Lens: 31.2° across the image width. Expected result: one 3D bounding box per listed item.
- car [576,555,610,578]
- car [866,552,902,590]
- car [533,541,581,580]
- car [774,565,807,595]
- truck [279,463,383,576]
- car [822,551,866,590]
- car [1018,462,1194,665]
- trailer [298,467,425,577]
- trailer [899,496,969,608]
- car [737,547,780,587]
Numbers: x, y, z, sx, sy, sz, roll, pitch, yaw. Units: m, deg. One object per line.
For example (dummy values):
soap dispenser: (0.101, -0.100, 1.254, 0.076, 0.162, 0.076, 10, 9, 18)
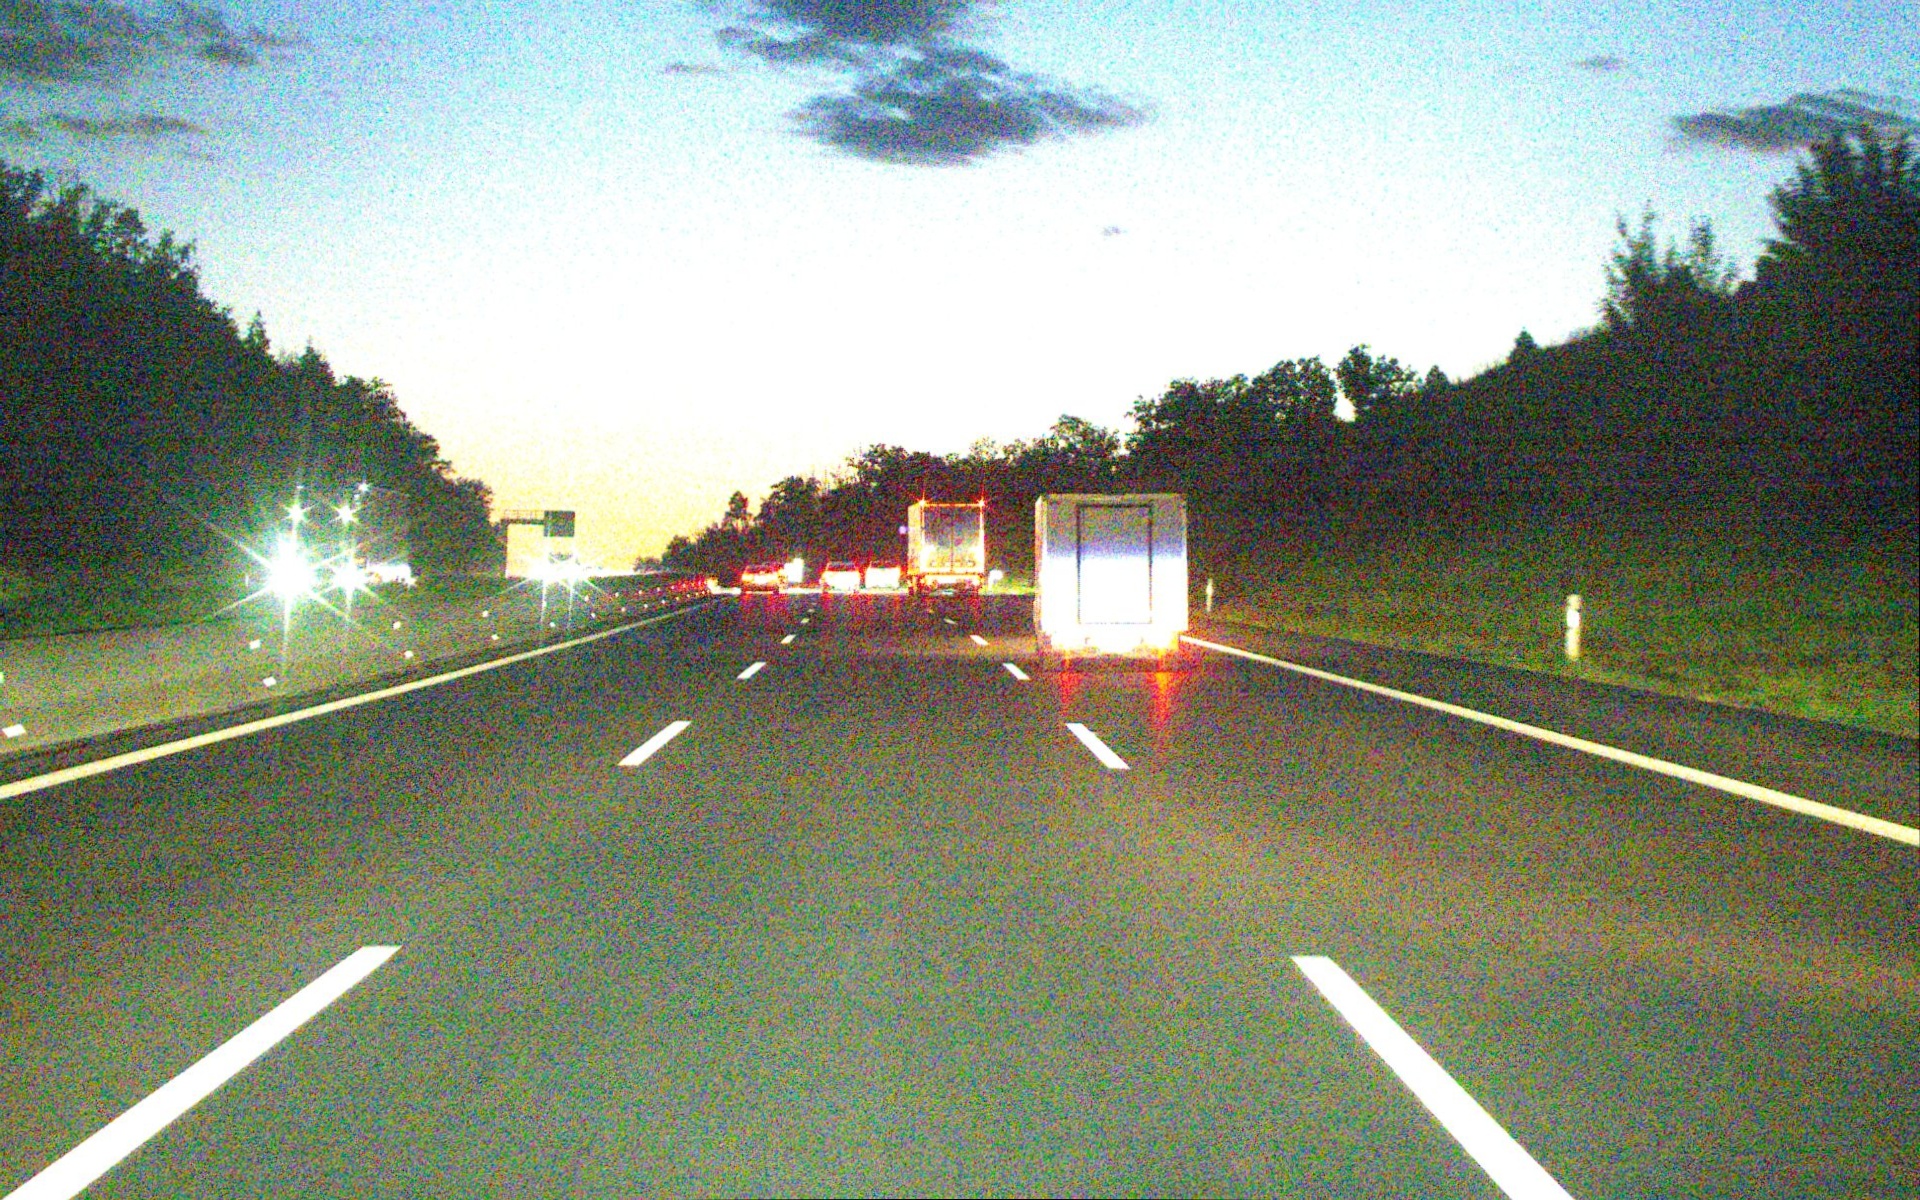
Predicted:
car: (-26.415, -2.404, 247.563, 2.244, 1.663, 4.890, 0, 1, -4)
car: (-4.427, -1.680, 199.933, 1.993, 2.110, 4.000, 0, -1, -2)
car: (-22.526, -2.248, 192.274, 2.244, 2.094, 5.716, 0, 1, -3)
car: (-11.001, -1.300, 222.932, 1.993, 1.810, 4.000, 0, -1, -1)
truck: (-22.519, -2.858, 123.334, 2.853, 3.967, 5.860, 0, 1, -2)
car: (-5.731, -1.457, 169.606, 1.993, 1.788, 4.000, 0, -1, -4)
car: (1.948, -0.502, 47.688, 2.032, 2.638, 5.725, 0, 0, -2)
trailer: (-22.778, -2.926, 131.585, 2.853, 3.967, 13.887, 0, 1, -2)
trailer: (-1.205, -1.935, 148.091, 2.829, 4.242, 17.048, 0, -1, -1)
car: (-9.586, -1.573, 163.886, 1.993, 1.788, 4.000, 0, -1, -3)
